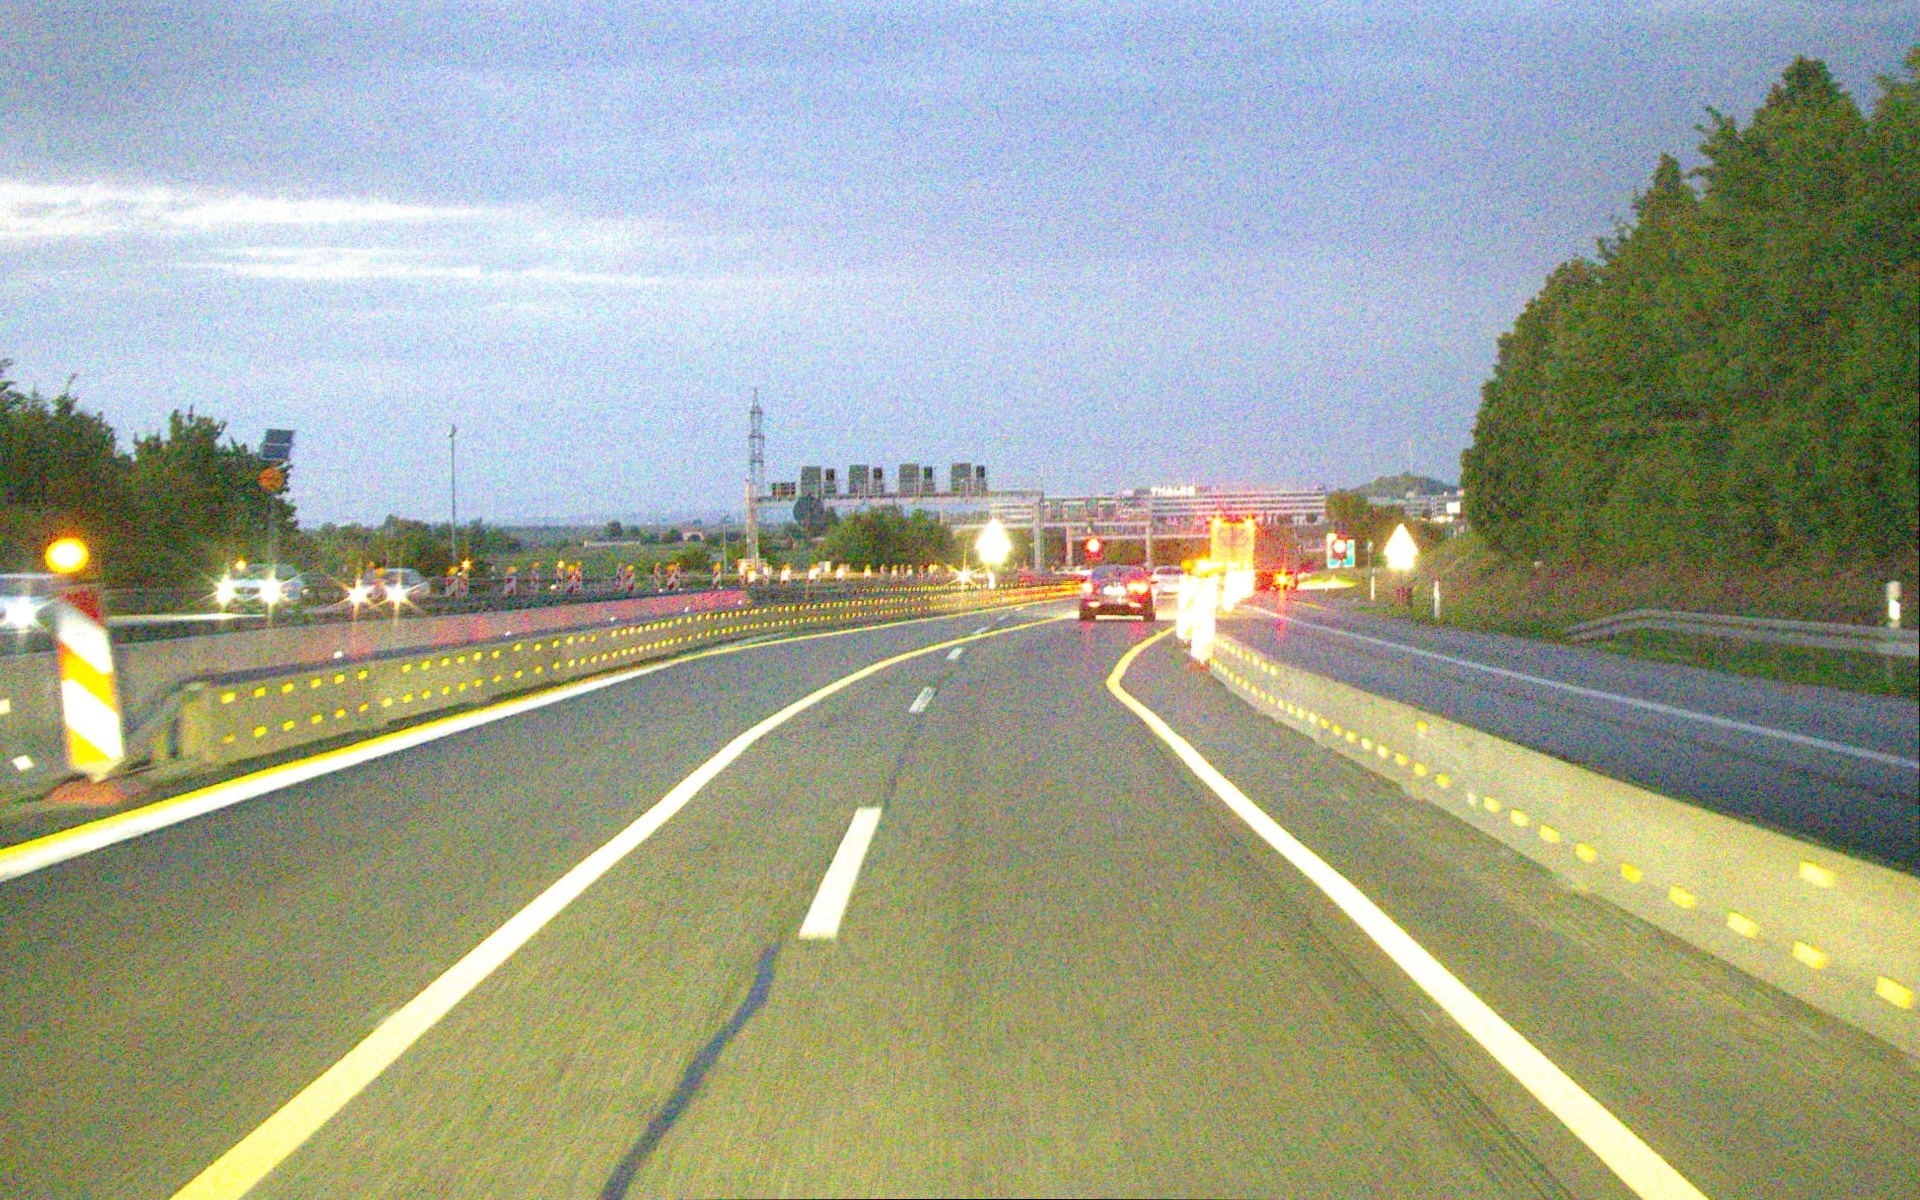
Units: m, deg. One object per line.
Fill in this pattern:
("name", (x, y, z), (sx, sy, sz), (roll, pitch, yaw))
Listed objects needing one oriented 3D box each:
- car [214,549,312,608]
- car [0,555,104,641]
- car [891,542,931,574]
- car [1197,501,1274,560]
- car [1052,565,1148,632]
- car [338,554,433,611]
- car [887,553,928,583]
("car", (-21.208, -0.653, 104.743), (1.907, 1.709, 3.943), (2, 1, 4))
("car", (-18.926, -0.069, 69.409), (1.831, 1.655, 4.841), (2, 1, 3))
("car", (-2.945, -2.529, 207.003), (1.994, 1.821, 3.999), (2, 1, 5))
("car", (16.302, -4.104, 204.237), (3.605, 3.384, 8.015), (1, 1, -2))
("car", (3.562, -0.056, 87.927), (2.265, 1.616, 4.000), (1, 1, 0))
("car", (-17.474, -0.548, 104.814), (1.831, 1.655, 4.841), (2, 1, 3))
("car", (-3.041, -1.871, 199.875), (1.994, 1.708, 3.999), (2, 1, 5))
